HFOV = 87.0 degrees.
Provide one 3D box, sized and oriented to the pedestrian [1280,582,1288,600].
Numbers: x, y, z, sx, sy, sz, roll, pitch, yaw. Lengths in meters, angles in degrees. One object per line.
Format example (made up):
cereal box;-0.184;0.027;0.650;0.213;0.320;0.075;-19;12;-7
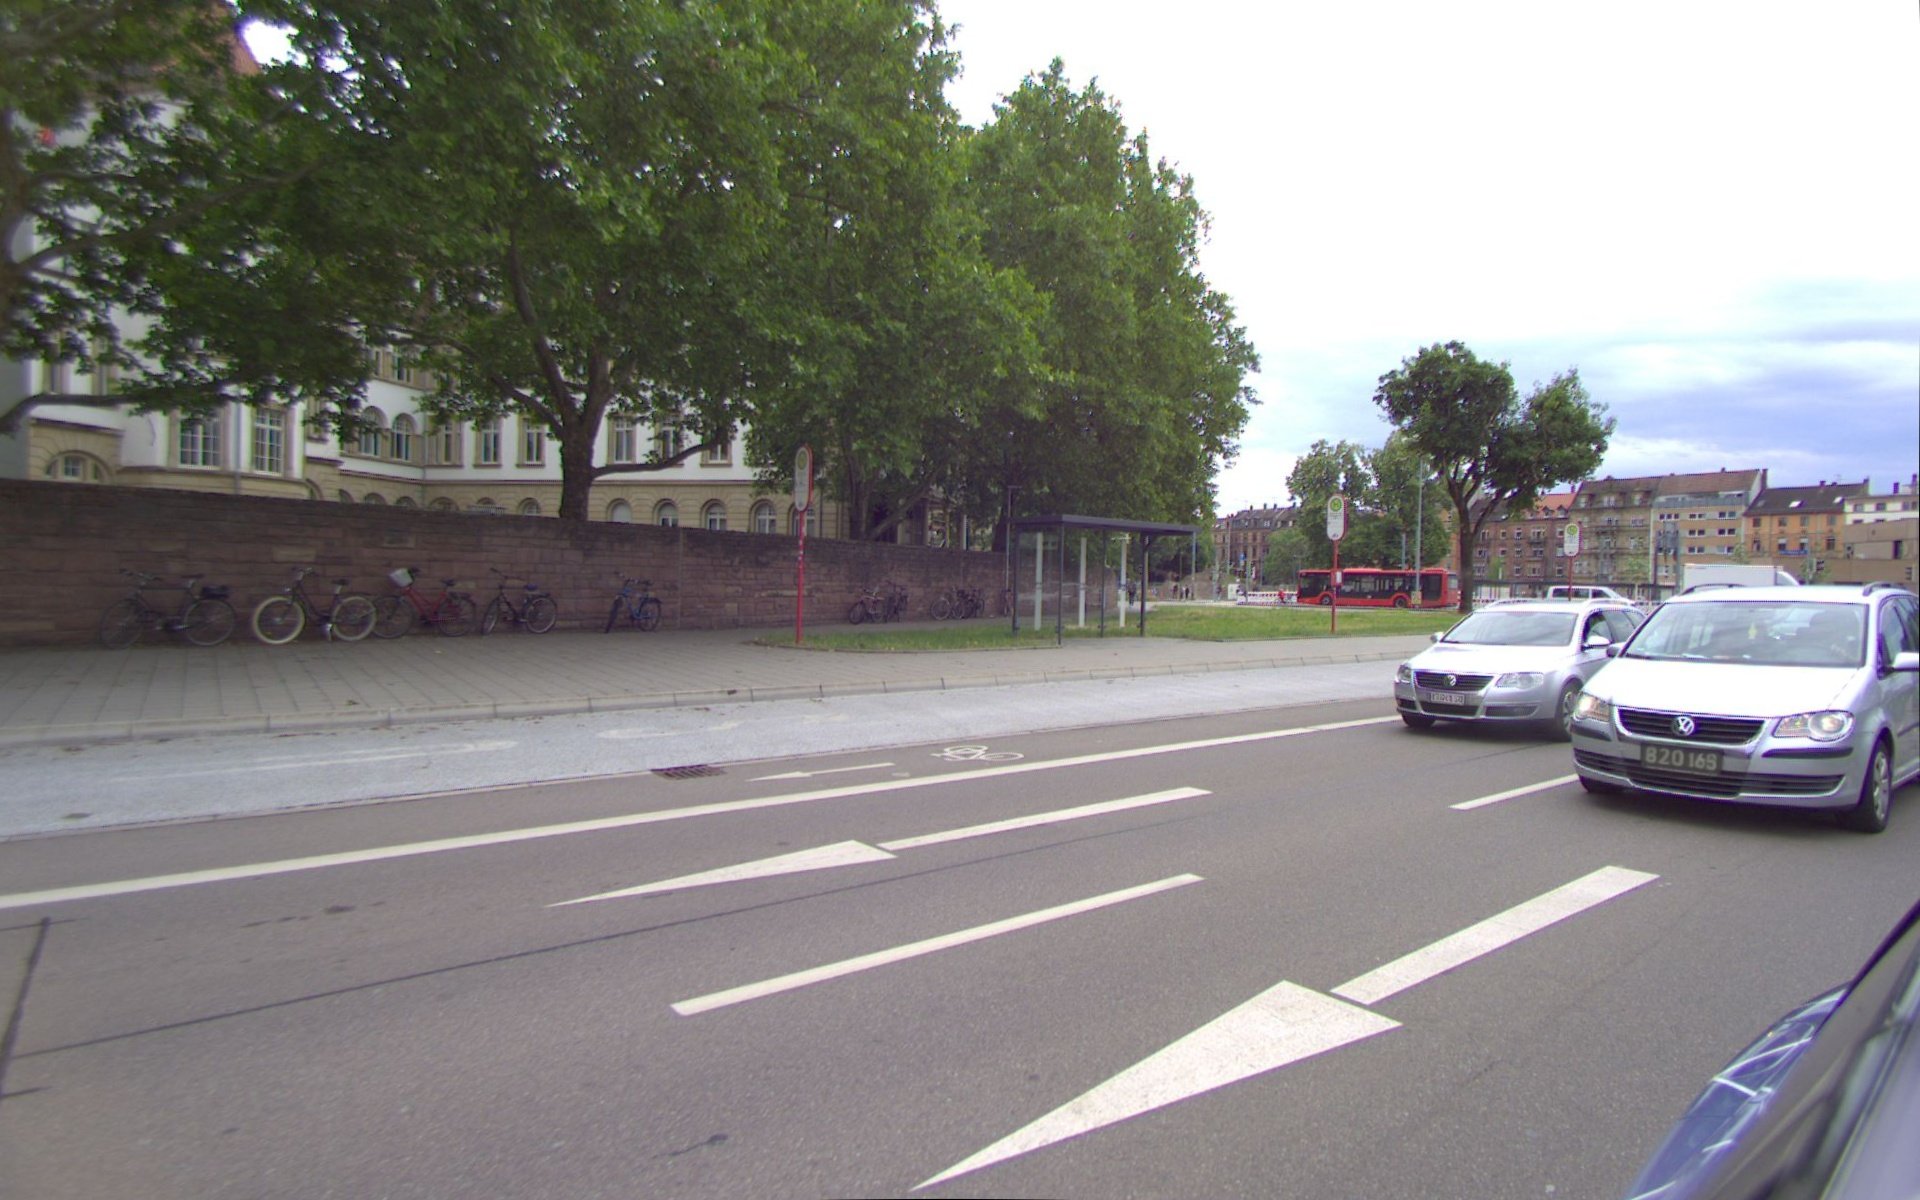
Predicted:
pedestrian;27.680;-0.796;86.455;0.367;1.484;0.372;1;2;-39

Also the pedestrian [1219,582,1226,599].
pedestrian;26.787;-0.946;103.272;0.365;1.726;0.373;1;2;-39

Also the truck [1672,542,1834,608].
truck;44.350;-1.418;56.769;2.518;3.453;6.840;-2;2;-43

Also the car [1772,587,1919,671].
car;19.248;0.564;21.794;4.410;1.645;1.911;0;0;-39

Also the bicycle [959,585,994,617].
bicycle;0.556;0.010;33.755;0.545;1.004;1.625;3;2;23

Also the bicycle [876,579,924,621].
bicycle;-1.727;-0.006;29.187;0.590;1.143;1.698;3;2;26

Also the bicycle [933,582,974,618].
bicycle;-0.200;-0.012;32.219;0.590;1.072;1.698;3;2;26

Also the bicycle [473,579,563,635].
bicycle;-8.106;0.117;18.605;0.414;0.954;1.507;4;2;34

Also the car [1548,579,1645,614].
car;39.167;-0.250;62.353;1.888;1.942;4.707;-3;3;-41

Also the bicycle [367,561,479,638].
bicycle;-9.075;-0.017;17.145;0.497;1.236;1.607;4;2;34

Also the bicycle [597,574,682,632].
bicycle;-6.505;0.046;20.609;0.594;1.118;1.636;3;2;31

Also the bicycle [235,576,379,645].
bicycle;-10.047;0.143;15.623;0.651;0.963;1.749;4;2;34

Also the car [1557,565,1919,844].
car;6.395;0.602;7.820;4.030;1.623;1.734;0;1;-38

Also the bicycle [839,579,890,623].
bicycle;-2.598;0.016;27.702;0.590;1.150;1.698;3;2;26

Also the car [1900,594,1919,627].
car;55.389;0.693;56.174;4.360;1.767;1.760;3;2;10

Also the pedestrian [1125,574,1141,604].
pedestrian;10.278;-0.672;60.075;0.744;1.756;0.823;3;2;2

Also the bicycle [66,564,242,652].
bicycle;-11.105;0.081;14.021;0.712;1.113;1.779;3;2;22

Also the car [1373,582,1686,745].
car;6.887;0.592;12.036;4.448;1.570;1.828;-1;1;-40

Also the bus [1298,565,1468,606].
bus;32.324;-1.198;78.111;2.887;2.944;12.077;1;1;-41
